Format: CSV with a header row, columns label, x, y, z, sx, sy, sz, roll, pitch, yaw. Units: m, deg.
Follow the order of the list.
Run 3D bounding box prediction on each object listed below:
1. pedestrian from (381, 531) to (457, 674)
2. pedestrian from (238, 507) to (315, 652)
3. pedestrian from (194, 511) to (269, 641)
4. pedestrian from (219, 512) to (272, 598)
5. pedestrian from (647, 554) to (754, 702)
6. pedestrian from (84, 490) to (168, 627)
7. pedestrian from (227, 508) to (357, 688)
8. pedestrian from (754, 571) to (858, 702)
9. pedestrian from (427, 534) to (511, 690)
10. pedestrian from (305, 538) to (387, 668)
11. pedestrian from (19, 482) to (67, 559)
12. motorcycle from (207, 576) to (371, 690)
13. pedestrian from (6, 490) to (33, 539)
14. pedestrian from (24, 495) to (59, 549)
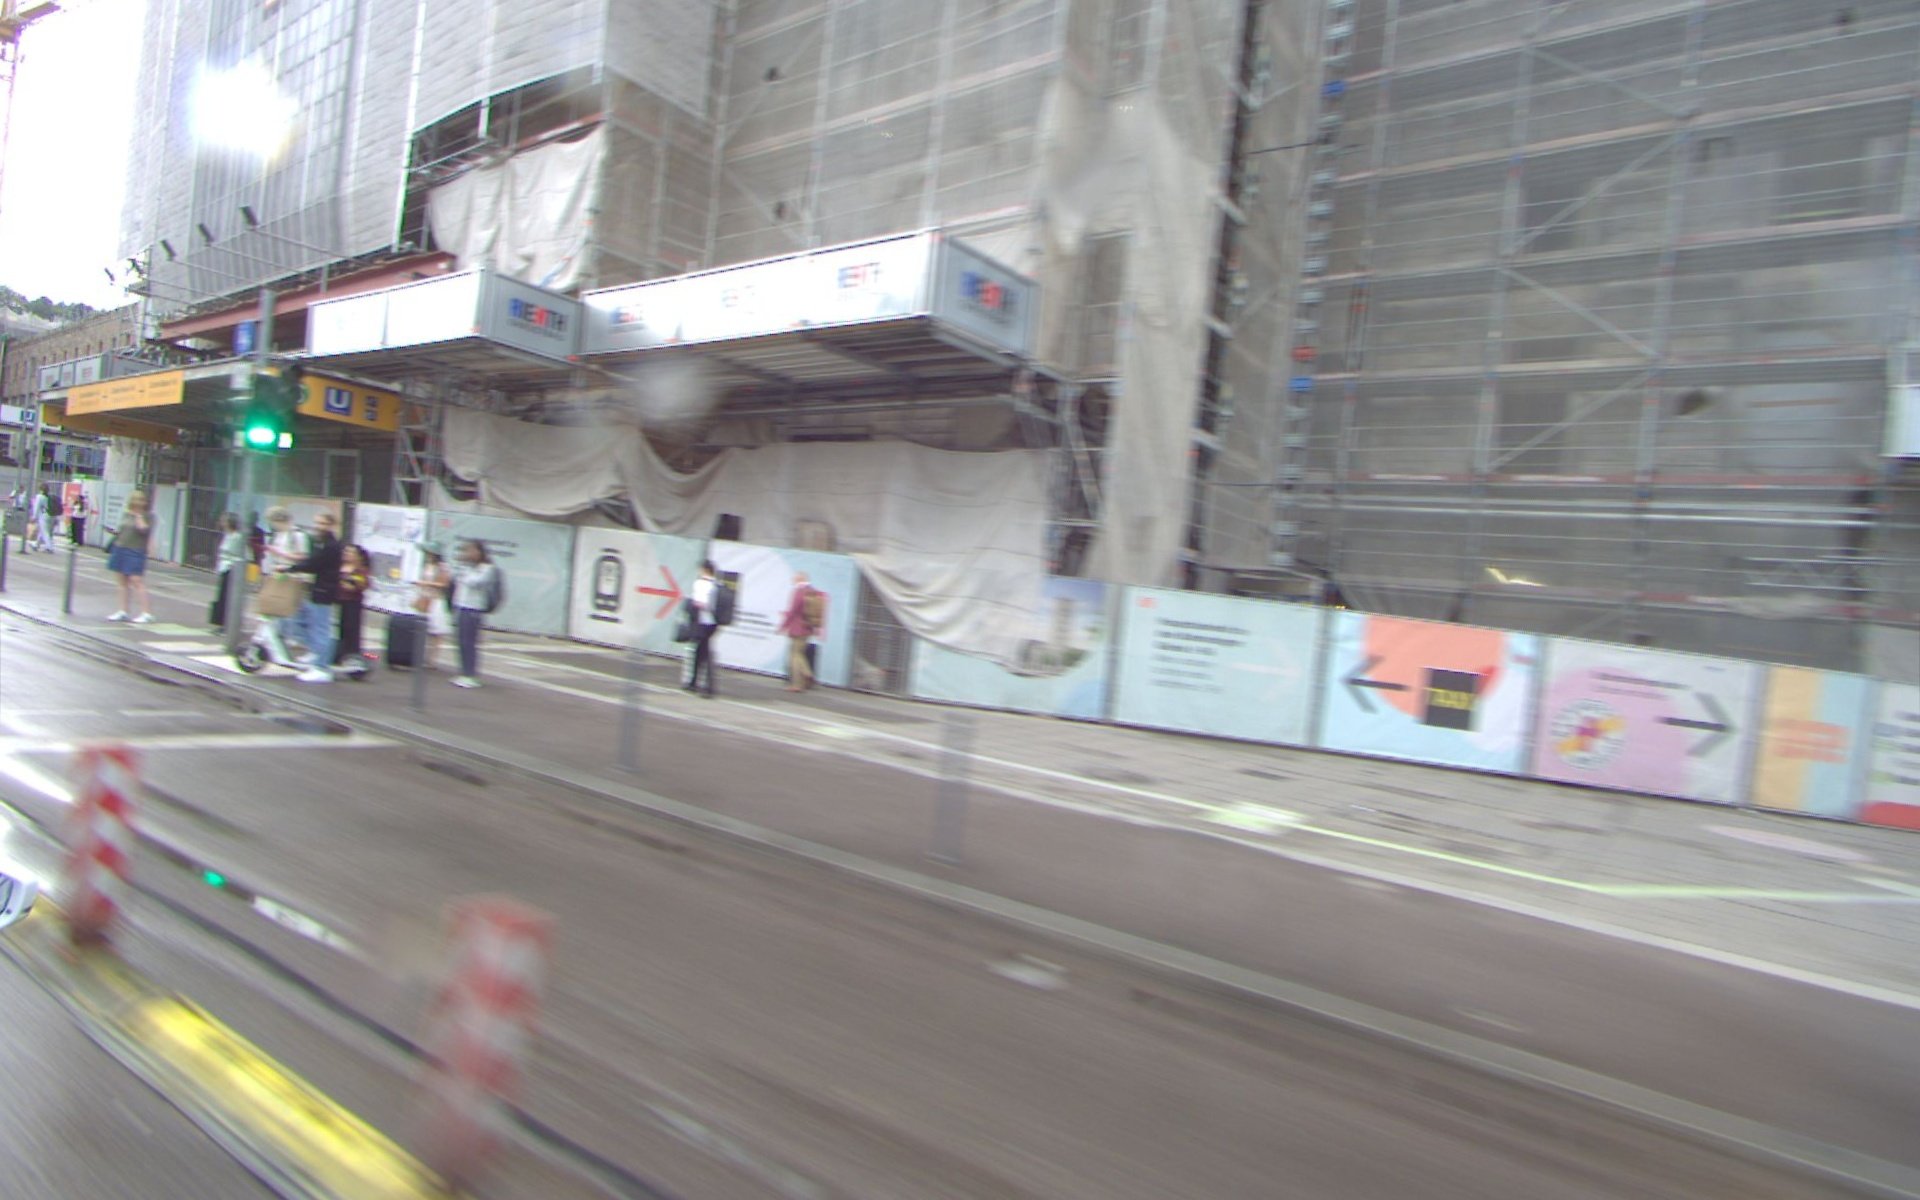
label,x,y,z,sx,sy,sz,roll,pitch,yaw
pedestrian,-6.641,0.028,12.350,0.606,1.673,0.563,8,4,40
pedestrian,-8.728,-0.261,12.846,0.700,1.776,0.557,7,4,37
pedestrian,-9.766,-0.318,13.481,0.740,1.663,0.557,7,4,37
pedestrian,-14.615,-0.927,20.565,0.980,1.654,0.548,7,4,36
pedestrian,-3.223,0.338,12.499,0.942,1.700,0.735,7,4,35
pedestrian,-11.442,-0.567,13.800,0.738,1.783,0.559,6,3,23
pedestrian,-7.018,-0.016,10.600,0.808,1.762,0.580,7,1,-7
pedestrian,-2.168,0.511,14.147,1.093,1.703,0.732,7,1,38
pedestrian,-5.549,0.128,11.366,0.605,1.673,0.557,7,4,37
pedestrian,-7.349,0.037,12.045,0.700,1.469,0.557,7,4,37
pedestrian,-23.641,-2.047,25.940,0.797,1.873,0.722,7,4,36
motorcycle,-7.046,0.345,10.608,1.218,1.034,0.585,7,0,-7
pedestrian,-37.589,-3.401,40.200,0.648,1.873,0.644,7,4,36
pedestrian,-27.888,-2.357,30.538,0.655,1.561,0.650,7,4,37
